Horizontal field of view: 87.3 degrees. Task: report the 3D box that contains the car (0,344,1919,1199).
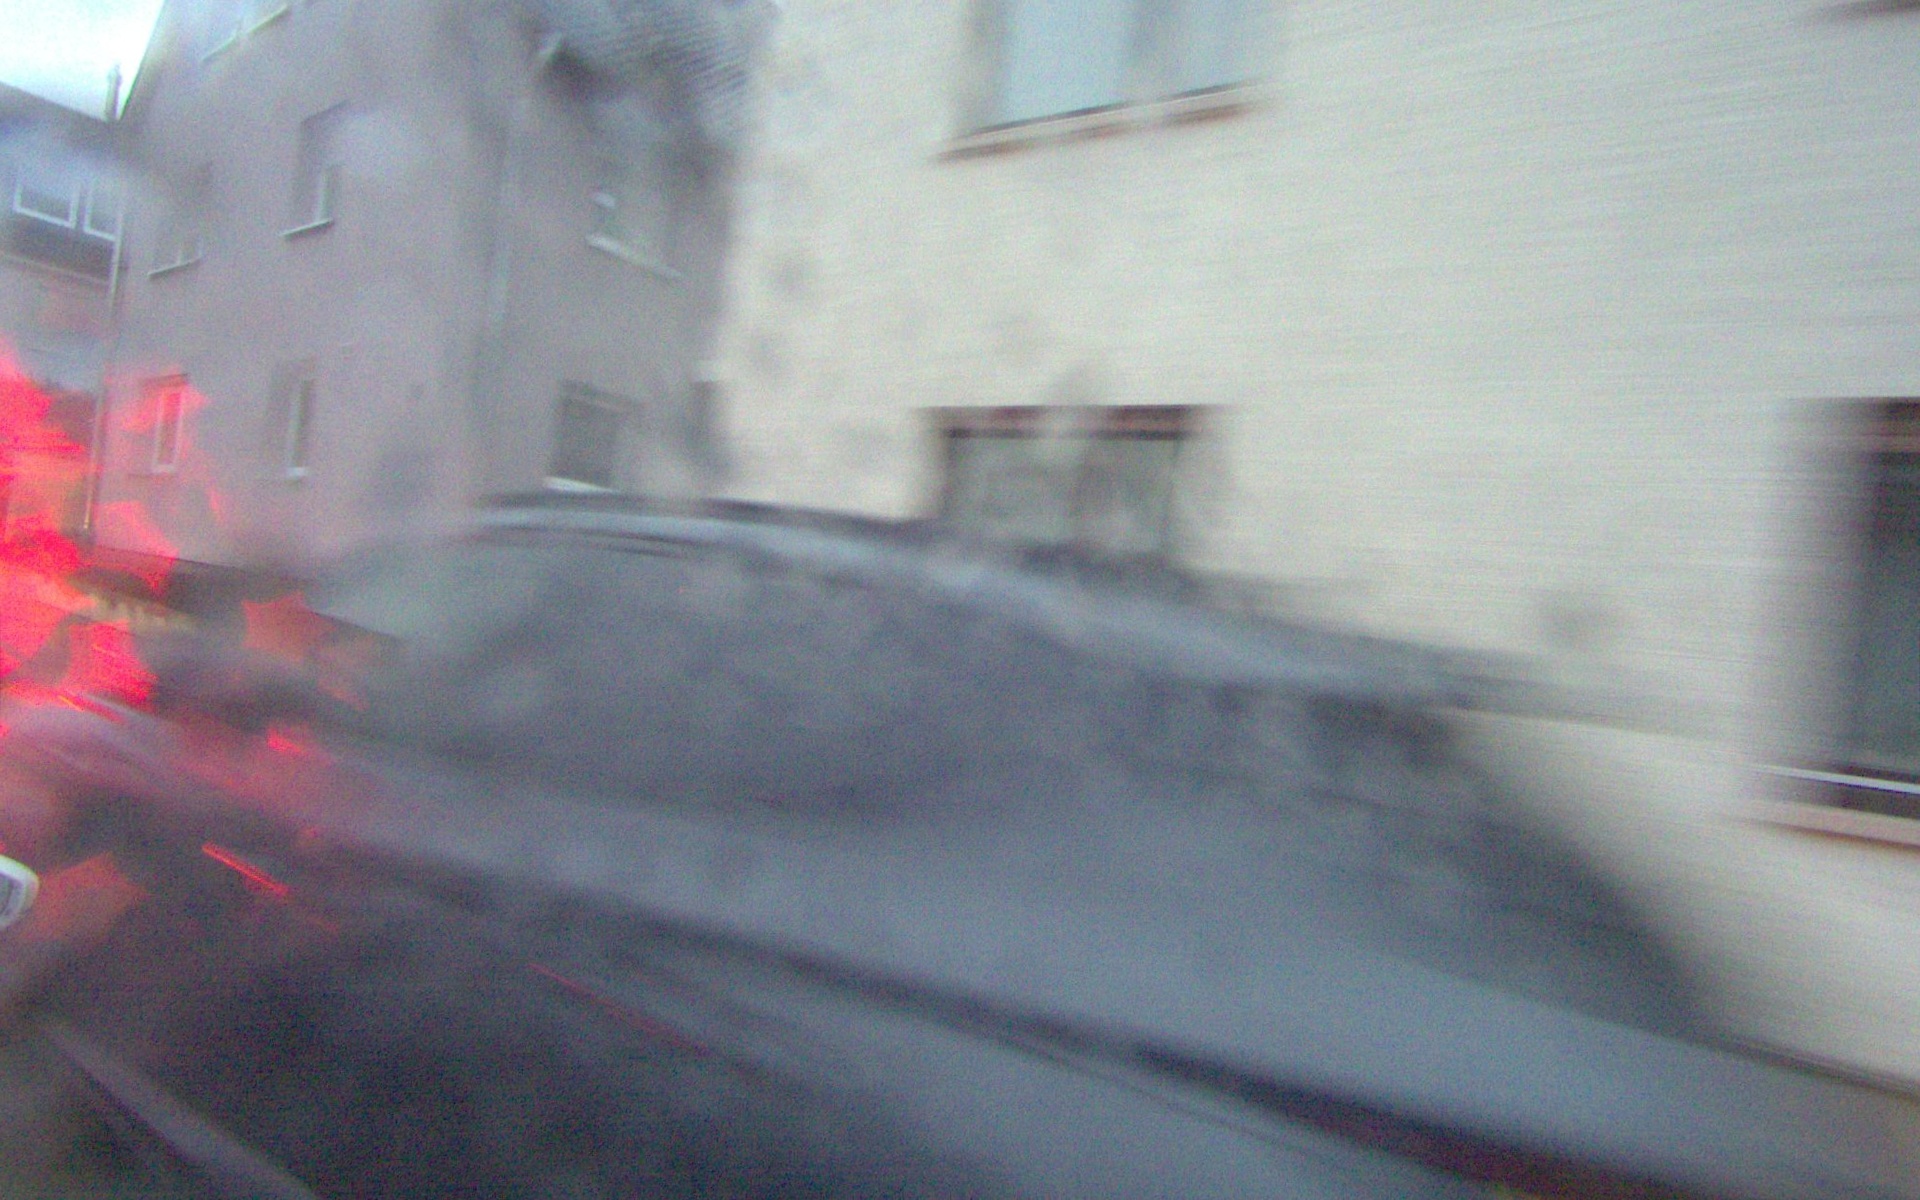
[{"bbox_3d":[-0.694,0.587,2.382,4.264,1.655,1.851,7,-2,32],"label":"car"}]
